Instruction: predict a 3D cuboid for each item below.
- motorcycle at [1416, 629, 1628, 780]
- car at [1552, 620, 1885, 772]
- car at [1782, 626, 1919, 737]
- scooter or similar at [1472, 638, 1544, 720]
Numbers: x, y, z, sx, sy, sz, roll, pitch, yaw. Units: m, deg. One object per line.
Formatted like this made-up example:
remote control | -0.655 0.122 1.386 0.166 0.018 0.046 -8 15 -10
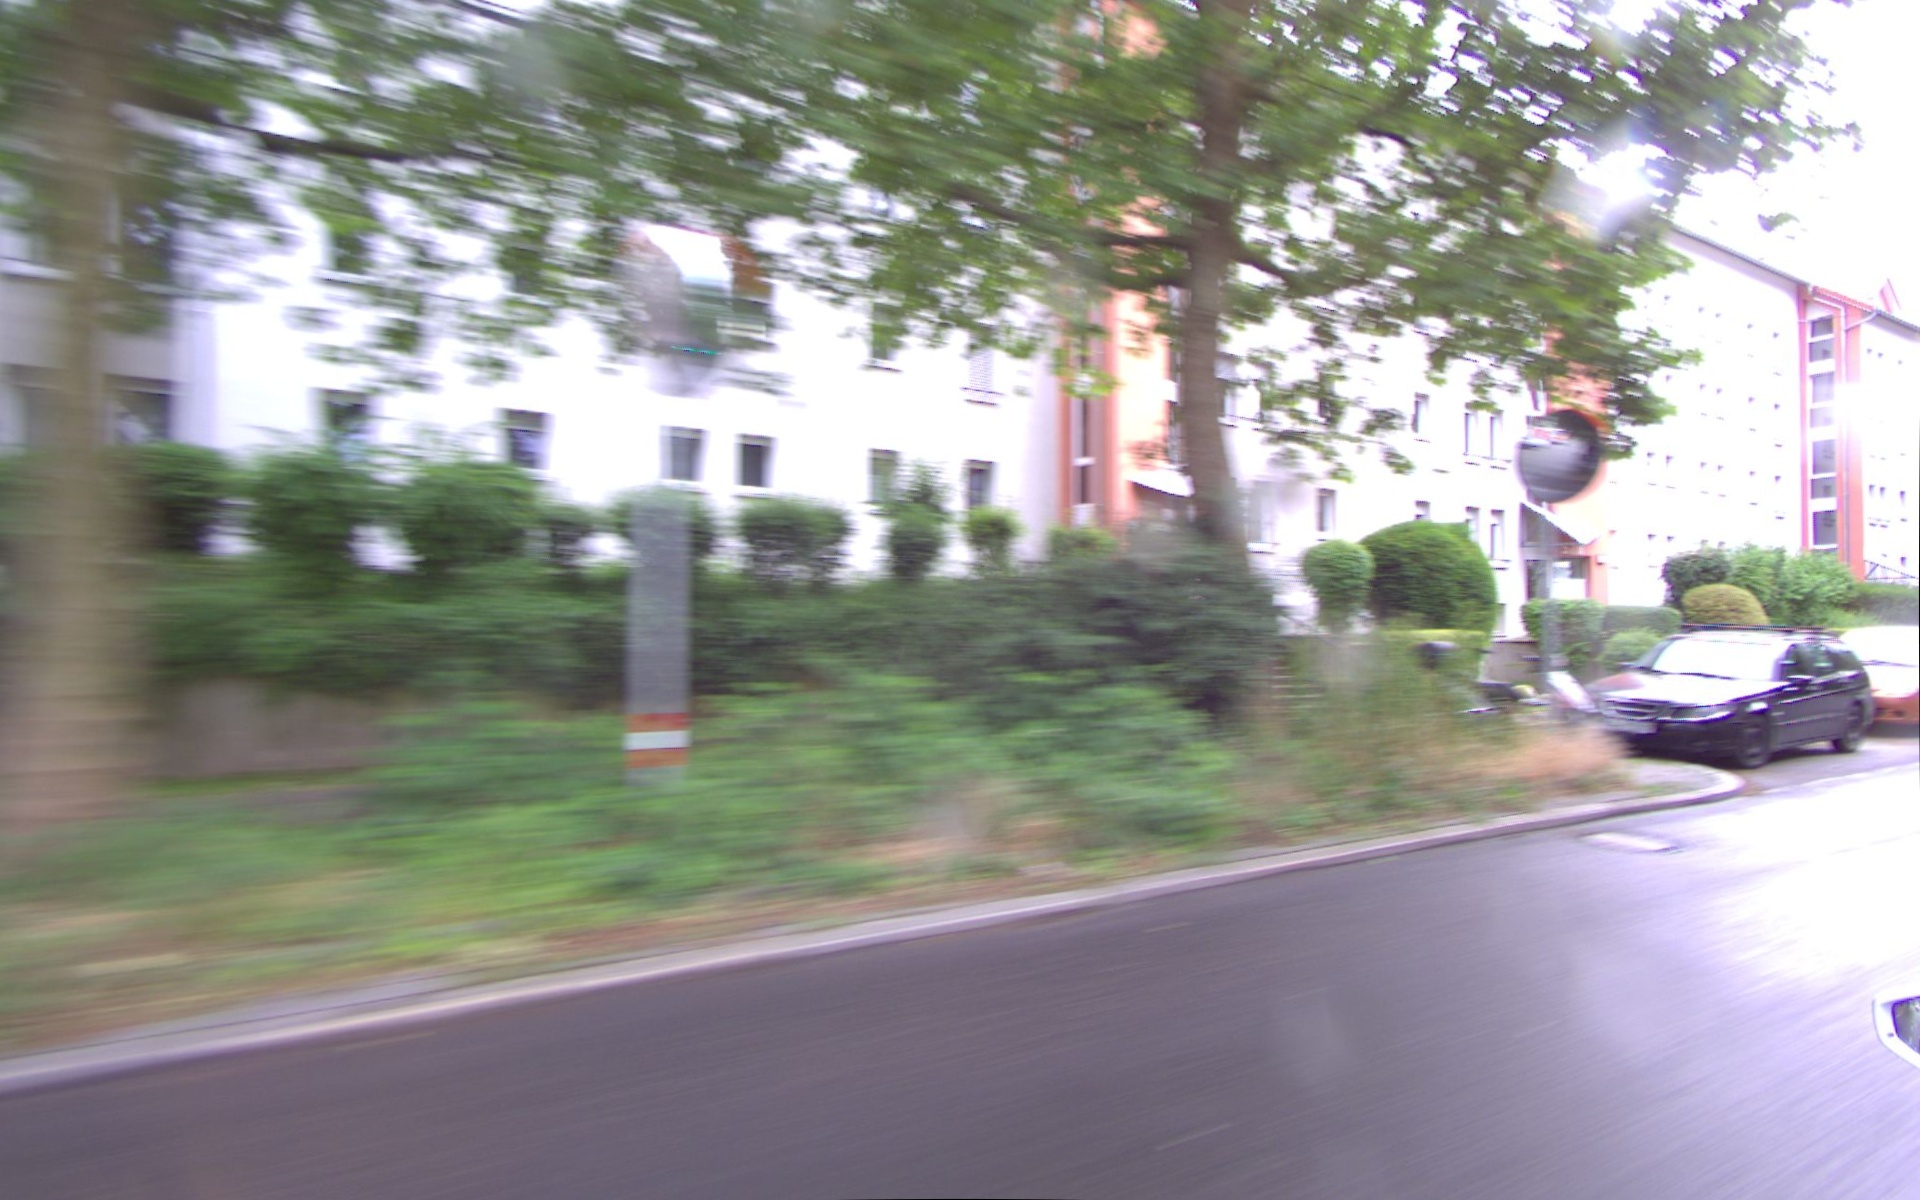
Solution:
motorcycle | 5.517 0.978 9.969 0.713 1.358 1.705 1 -2 -30
car | 9.350 1.024 12.260 4.751 1.529 1.707 1 -1 -33
car | 14.120 1.158 15.263 3.359 1.487 1.547 1 -1 -32
scooter or similar | 9.760 1.383 17.888 1.018 1.387 0.773 1 -2 -36
